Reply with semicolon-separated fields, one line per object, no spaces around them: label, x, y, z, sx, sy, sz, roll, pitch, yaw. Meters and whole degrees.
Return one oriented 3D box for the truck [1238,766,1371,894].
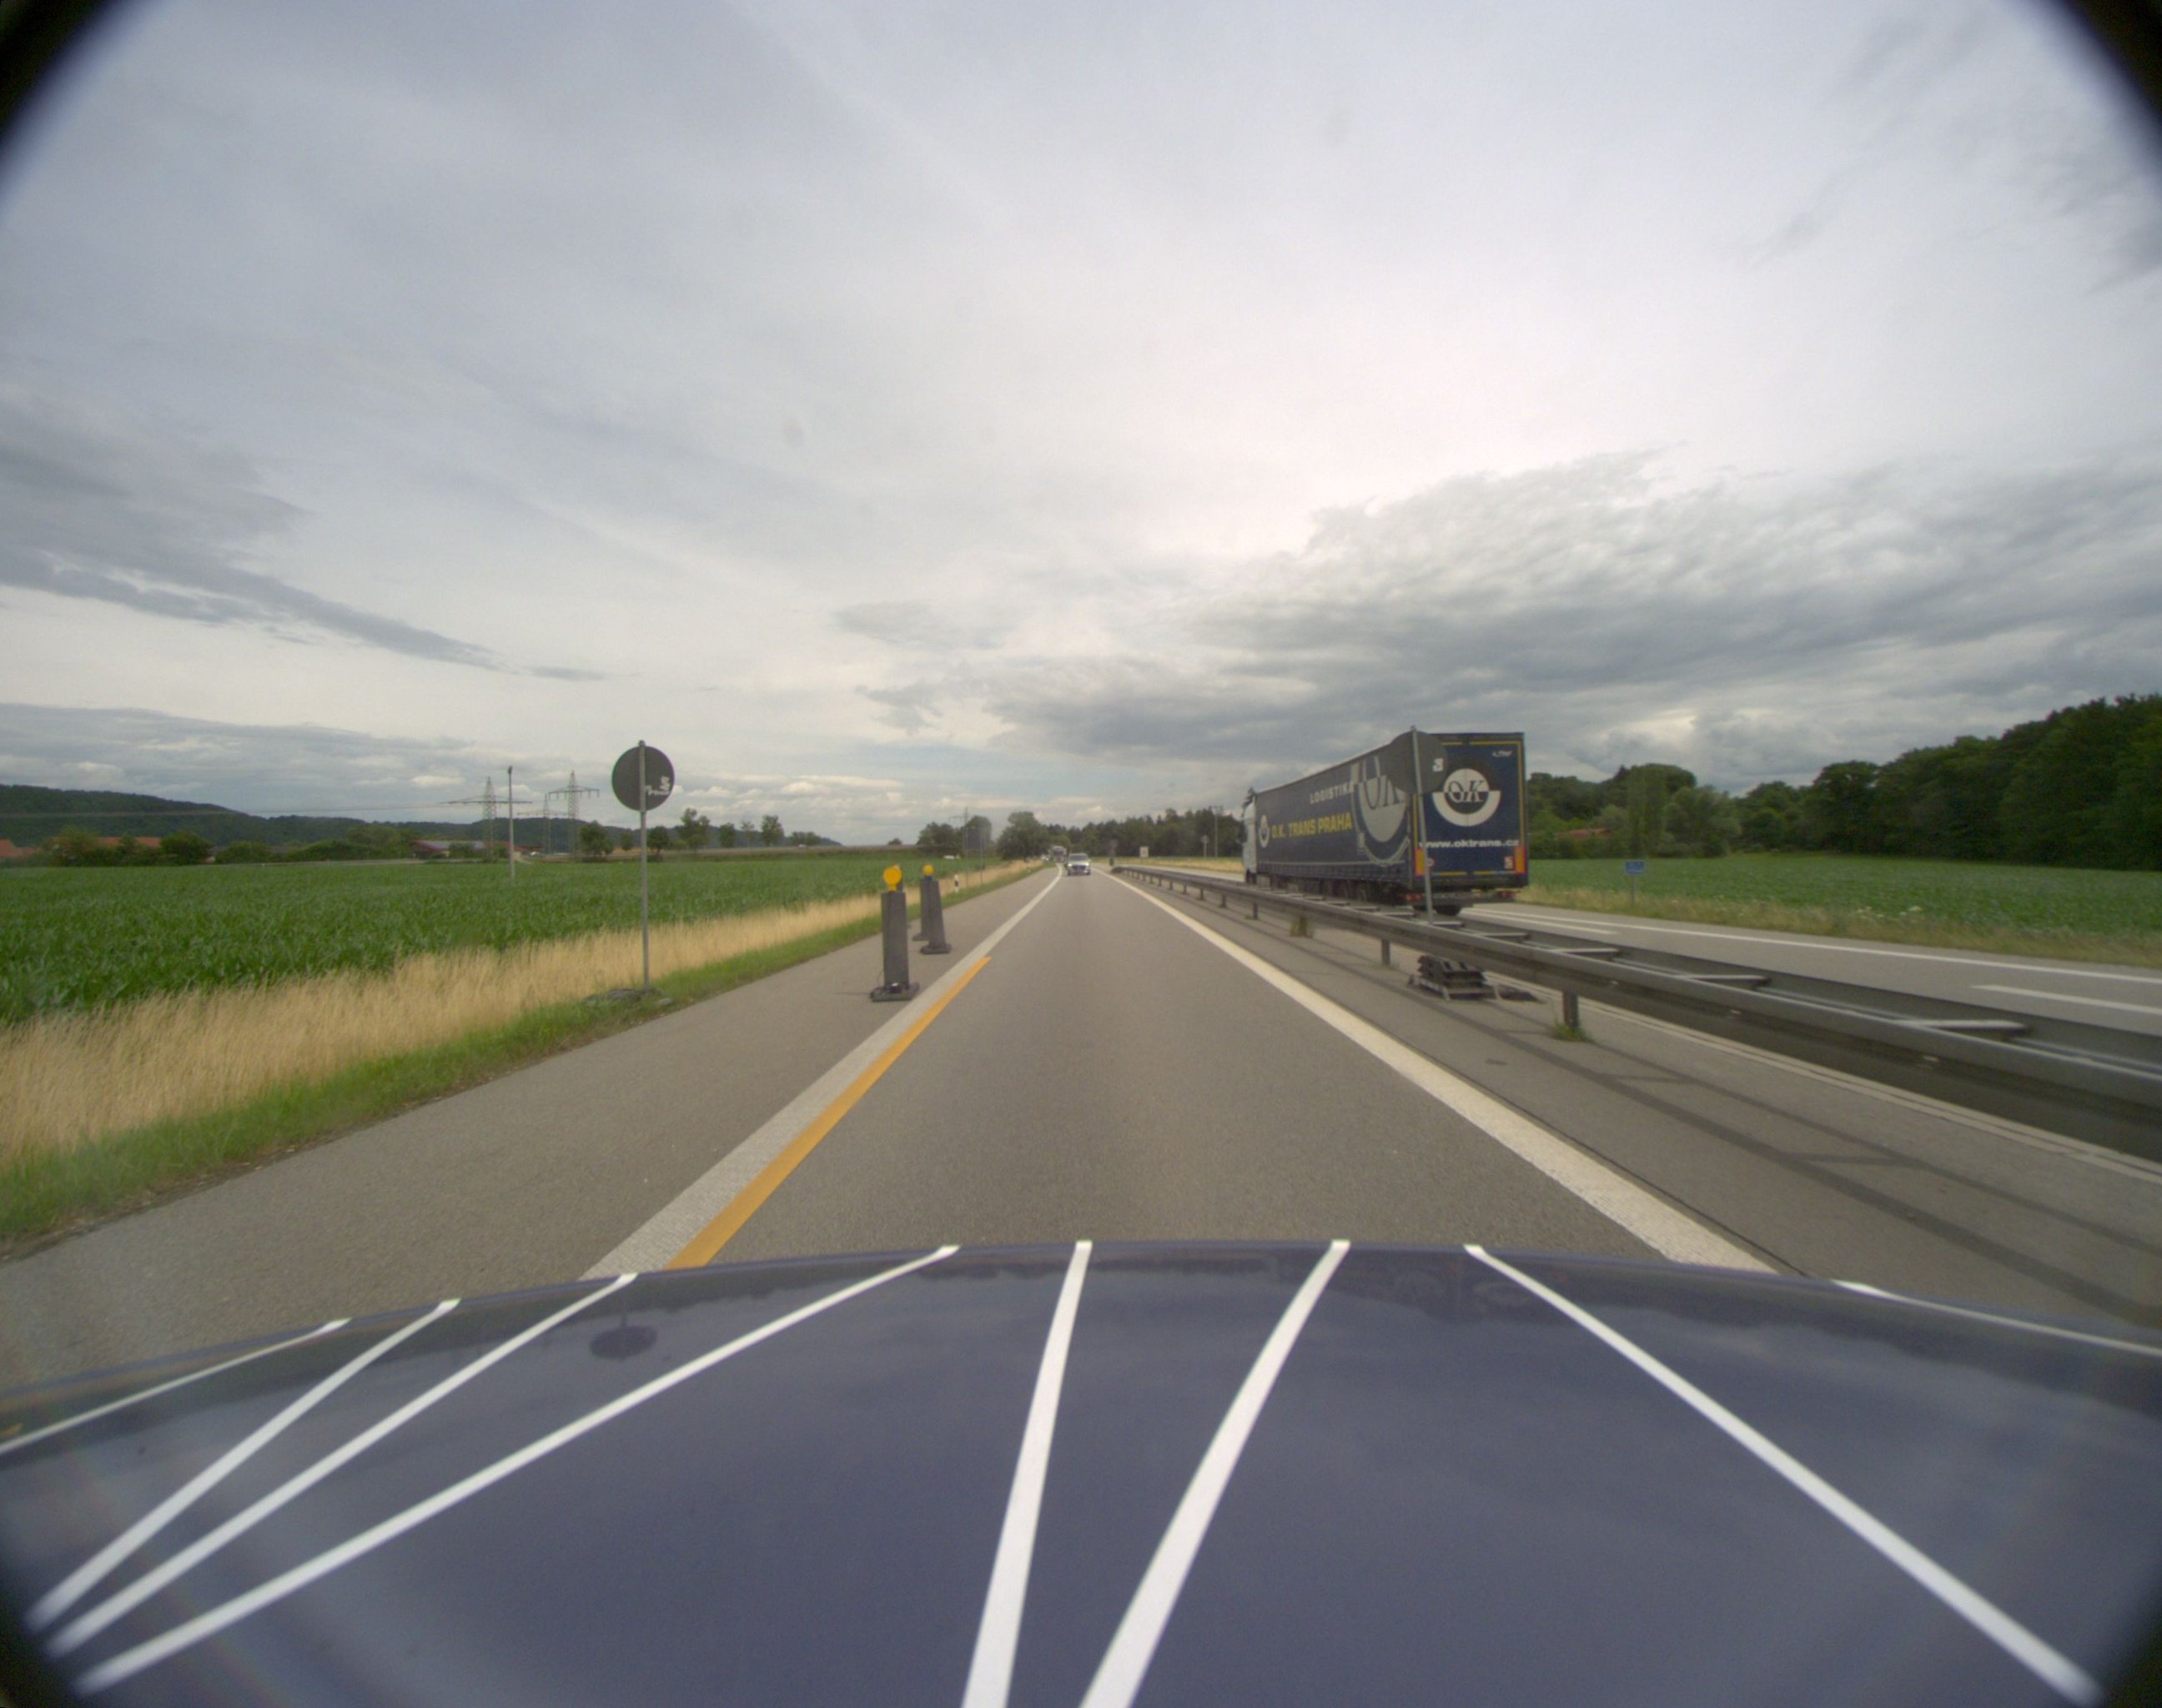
truck;8.157;-0.839;28.824;2.806;4.118;7.227;-3;1;1

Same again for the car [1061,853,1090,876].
car;-0.495;0.853;65.972;1.924;1.823;3.997;-3;1;-8

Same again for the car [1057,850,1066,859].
car;-4.889;0.096;190.749;1.998;2.002;4.000;-3;1;1

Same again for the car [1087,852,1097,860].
car;2.493;0.532;169.690;1.822;1.623;4.600;-3;1;-3

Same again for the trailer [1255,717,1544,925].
trailer;8.114;-0.764;22.427;2.806;4.149;13.561;-3;1;1
